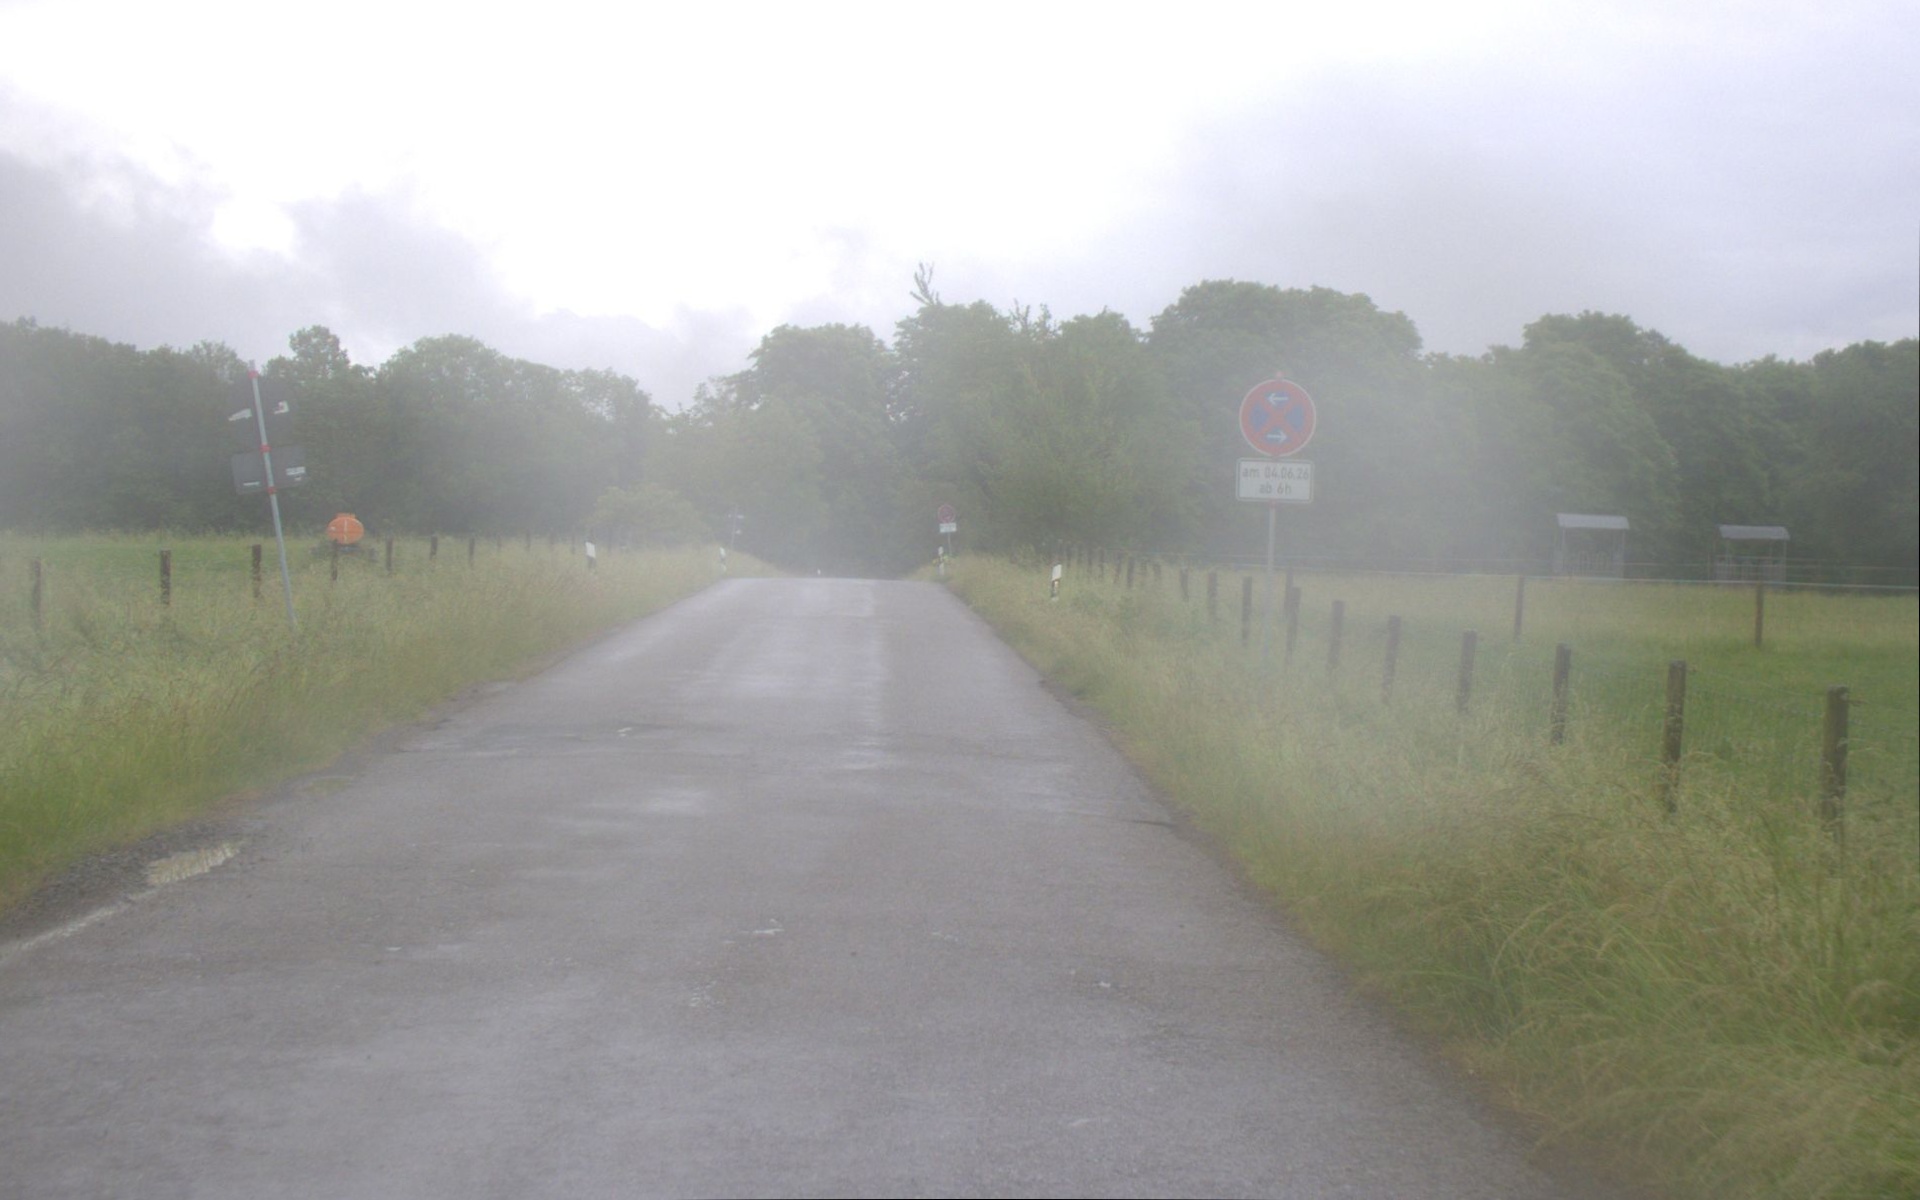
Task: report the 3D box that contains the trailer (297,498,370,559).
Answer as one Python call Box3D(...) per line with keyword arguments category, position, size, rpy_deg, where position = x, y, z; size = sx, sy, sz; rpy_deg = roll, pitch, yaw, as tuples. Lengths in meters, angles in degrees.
Box3D(category="trailer", position=(-16.176, -1.859, 88.734), size=(1.751, 1.499, 3.091), rpy_deg=(1, 1, -12))
